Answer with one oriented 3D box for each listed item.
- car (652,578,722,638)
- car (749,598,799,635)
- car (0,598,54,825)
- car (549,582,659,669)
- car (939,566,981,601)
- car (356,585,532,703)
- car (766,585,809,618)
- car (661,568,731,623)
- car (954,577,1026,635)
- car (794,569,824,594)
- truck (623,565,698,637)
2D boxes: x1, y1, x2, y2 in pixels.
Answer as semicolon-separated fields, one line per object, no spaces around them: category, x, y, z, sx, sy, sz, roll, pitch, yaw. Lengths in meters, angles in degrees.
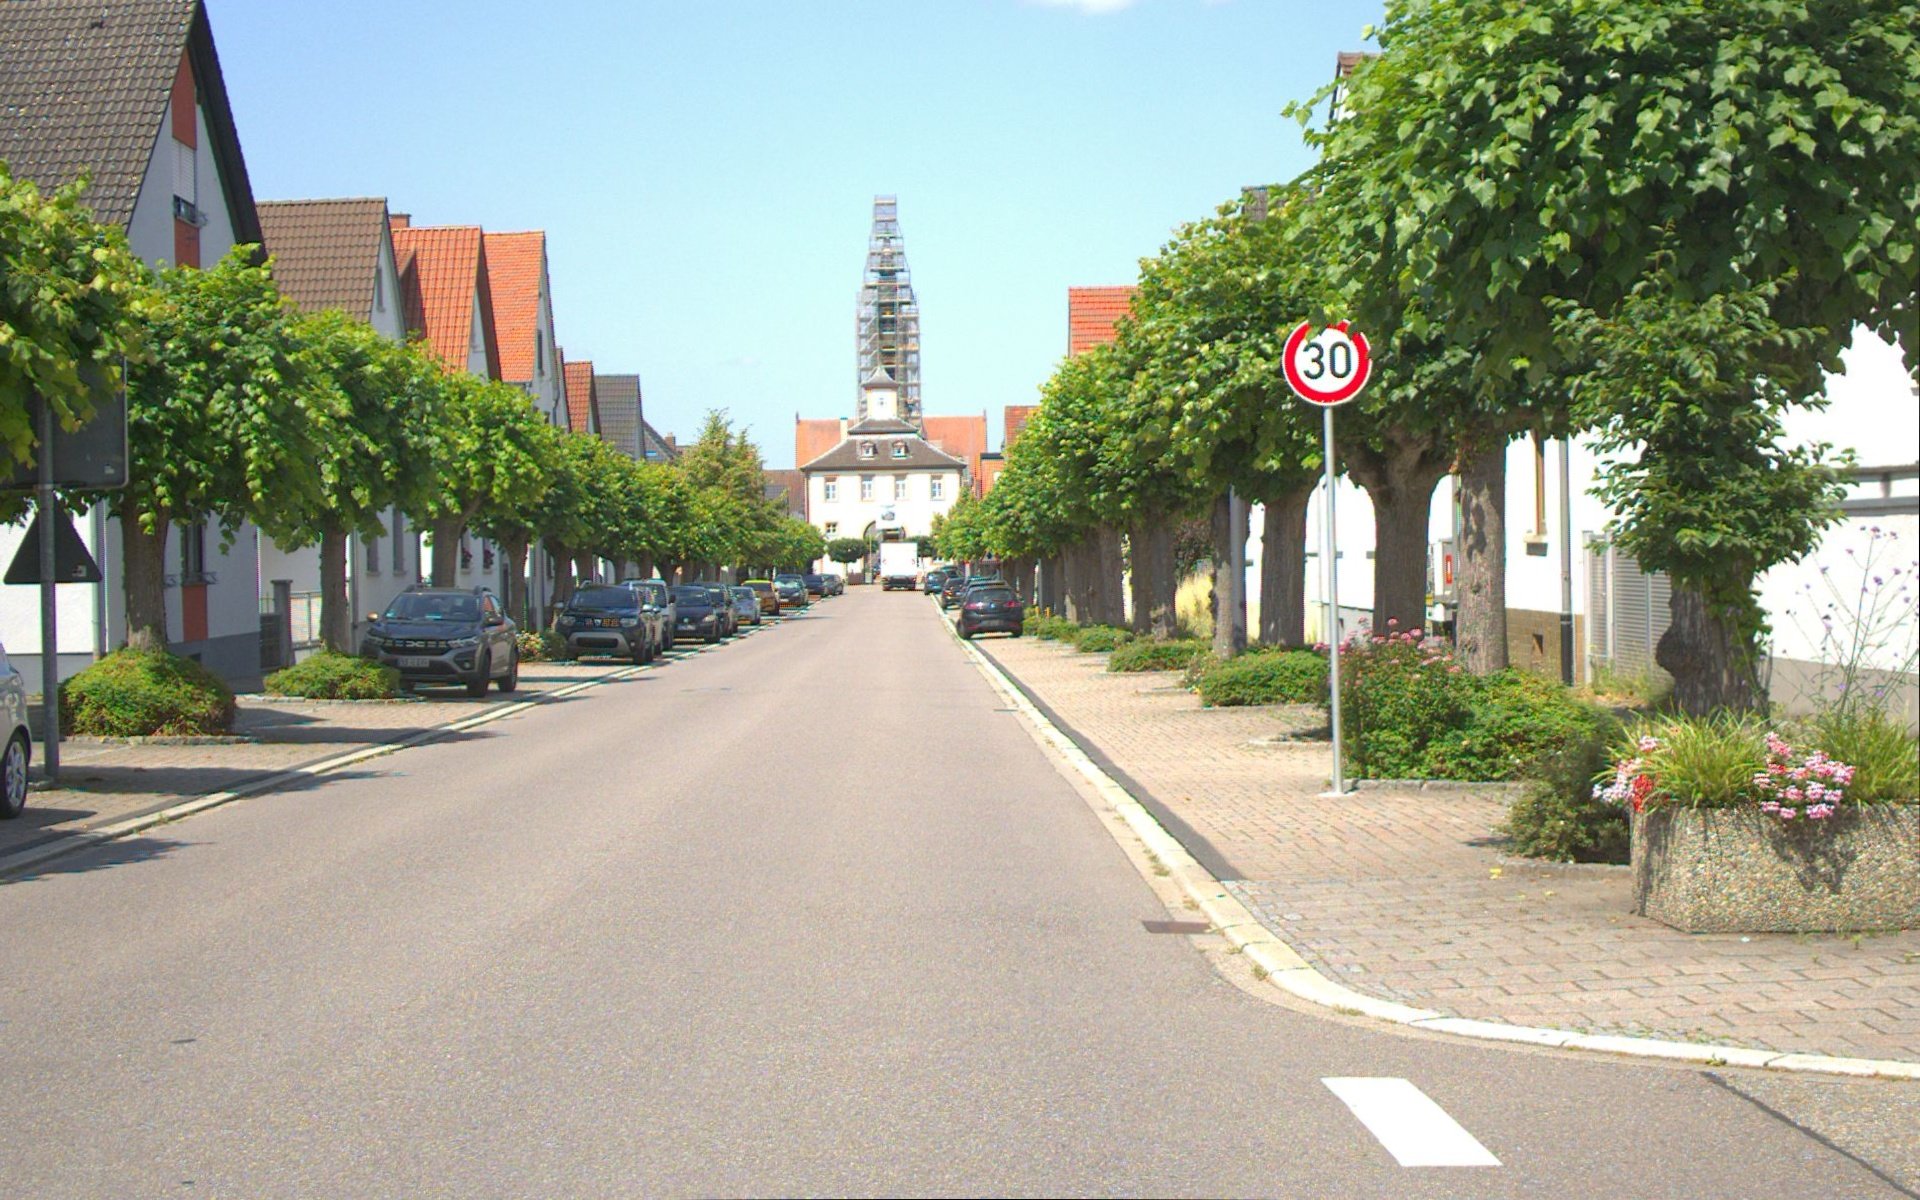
car;-7.551;0.203;94.979;1.785;1.628;4.001;-1;0;-6
car;-8.487;0.743;157.044;1.993;1.606;4.689;0;1;0
car;-7.194;0.737;21.817;1.825;1.478;4.132;0;0;0
car;-7.205;0.490;69.876;1.853;1.631;4.299;1;1;-1
car;0.004;-0.792;165.062;1.837;1.550;4.314;-3;1;-1
car;-7.410;0.605;49.720;1.853;1.607;4.135;0;0;1
car;-8.967;0.061;179.052;1.993;1.606;4.689;1;1;0
car;-7.880;-0.131;102.889;1.853;1.629;4.057;0;0;-1
car;0.809;0.152;95.510;1.824;1.427;4.057;-4;1;-1
car;-9.759;-1.221;221.991;1.757;1.550;4.020;-2;1;0
truck;-7.506;0.019;86.362;1.576;1.759;4.192;0;0;-1
